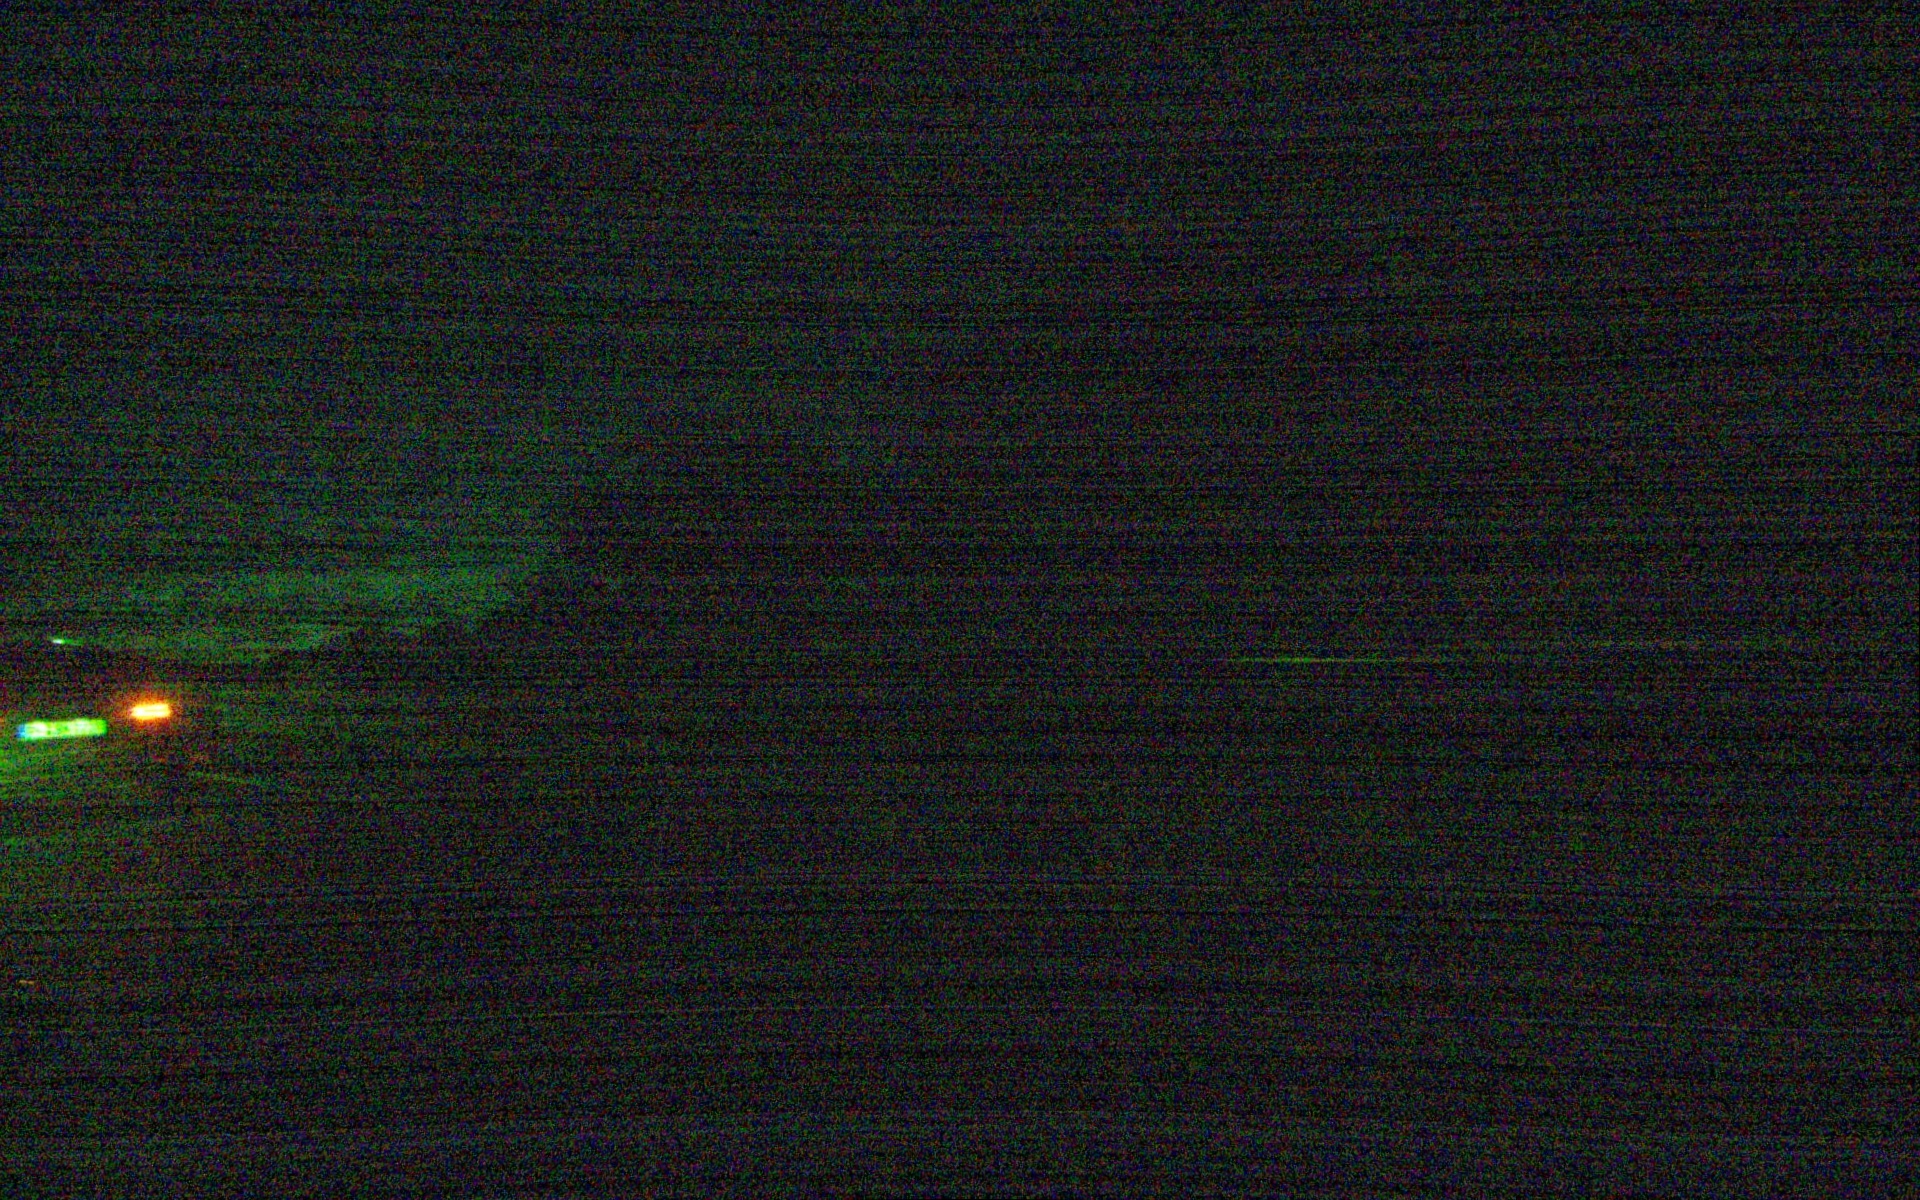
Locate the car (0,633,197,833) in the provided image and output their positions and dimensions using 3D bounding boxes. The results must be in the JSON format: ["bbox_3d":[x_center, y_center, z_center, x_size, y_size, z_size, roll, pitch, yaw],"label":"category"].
[{"bbox_3d":[-8.835,1.025,8.919,4.807,1.445,1.804,-1,-1,34],"label":"car"}]
